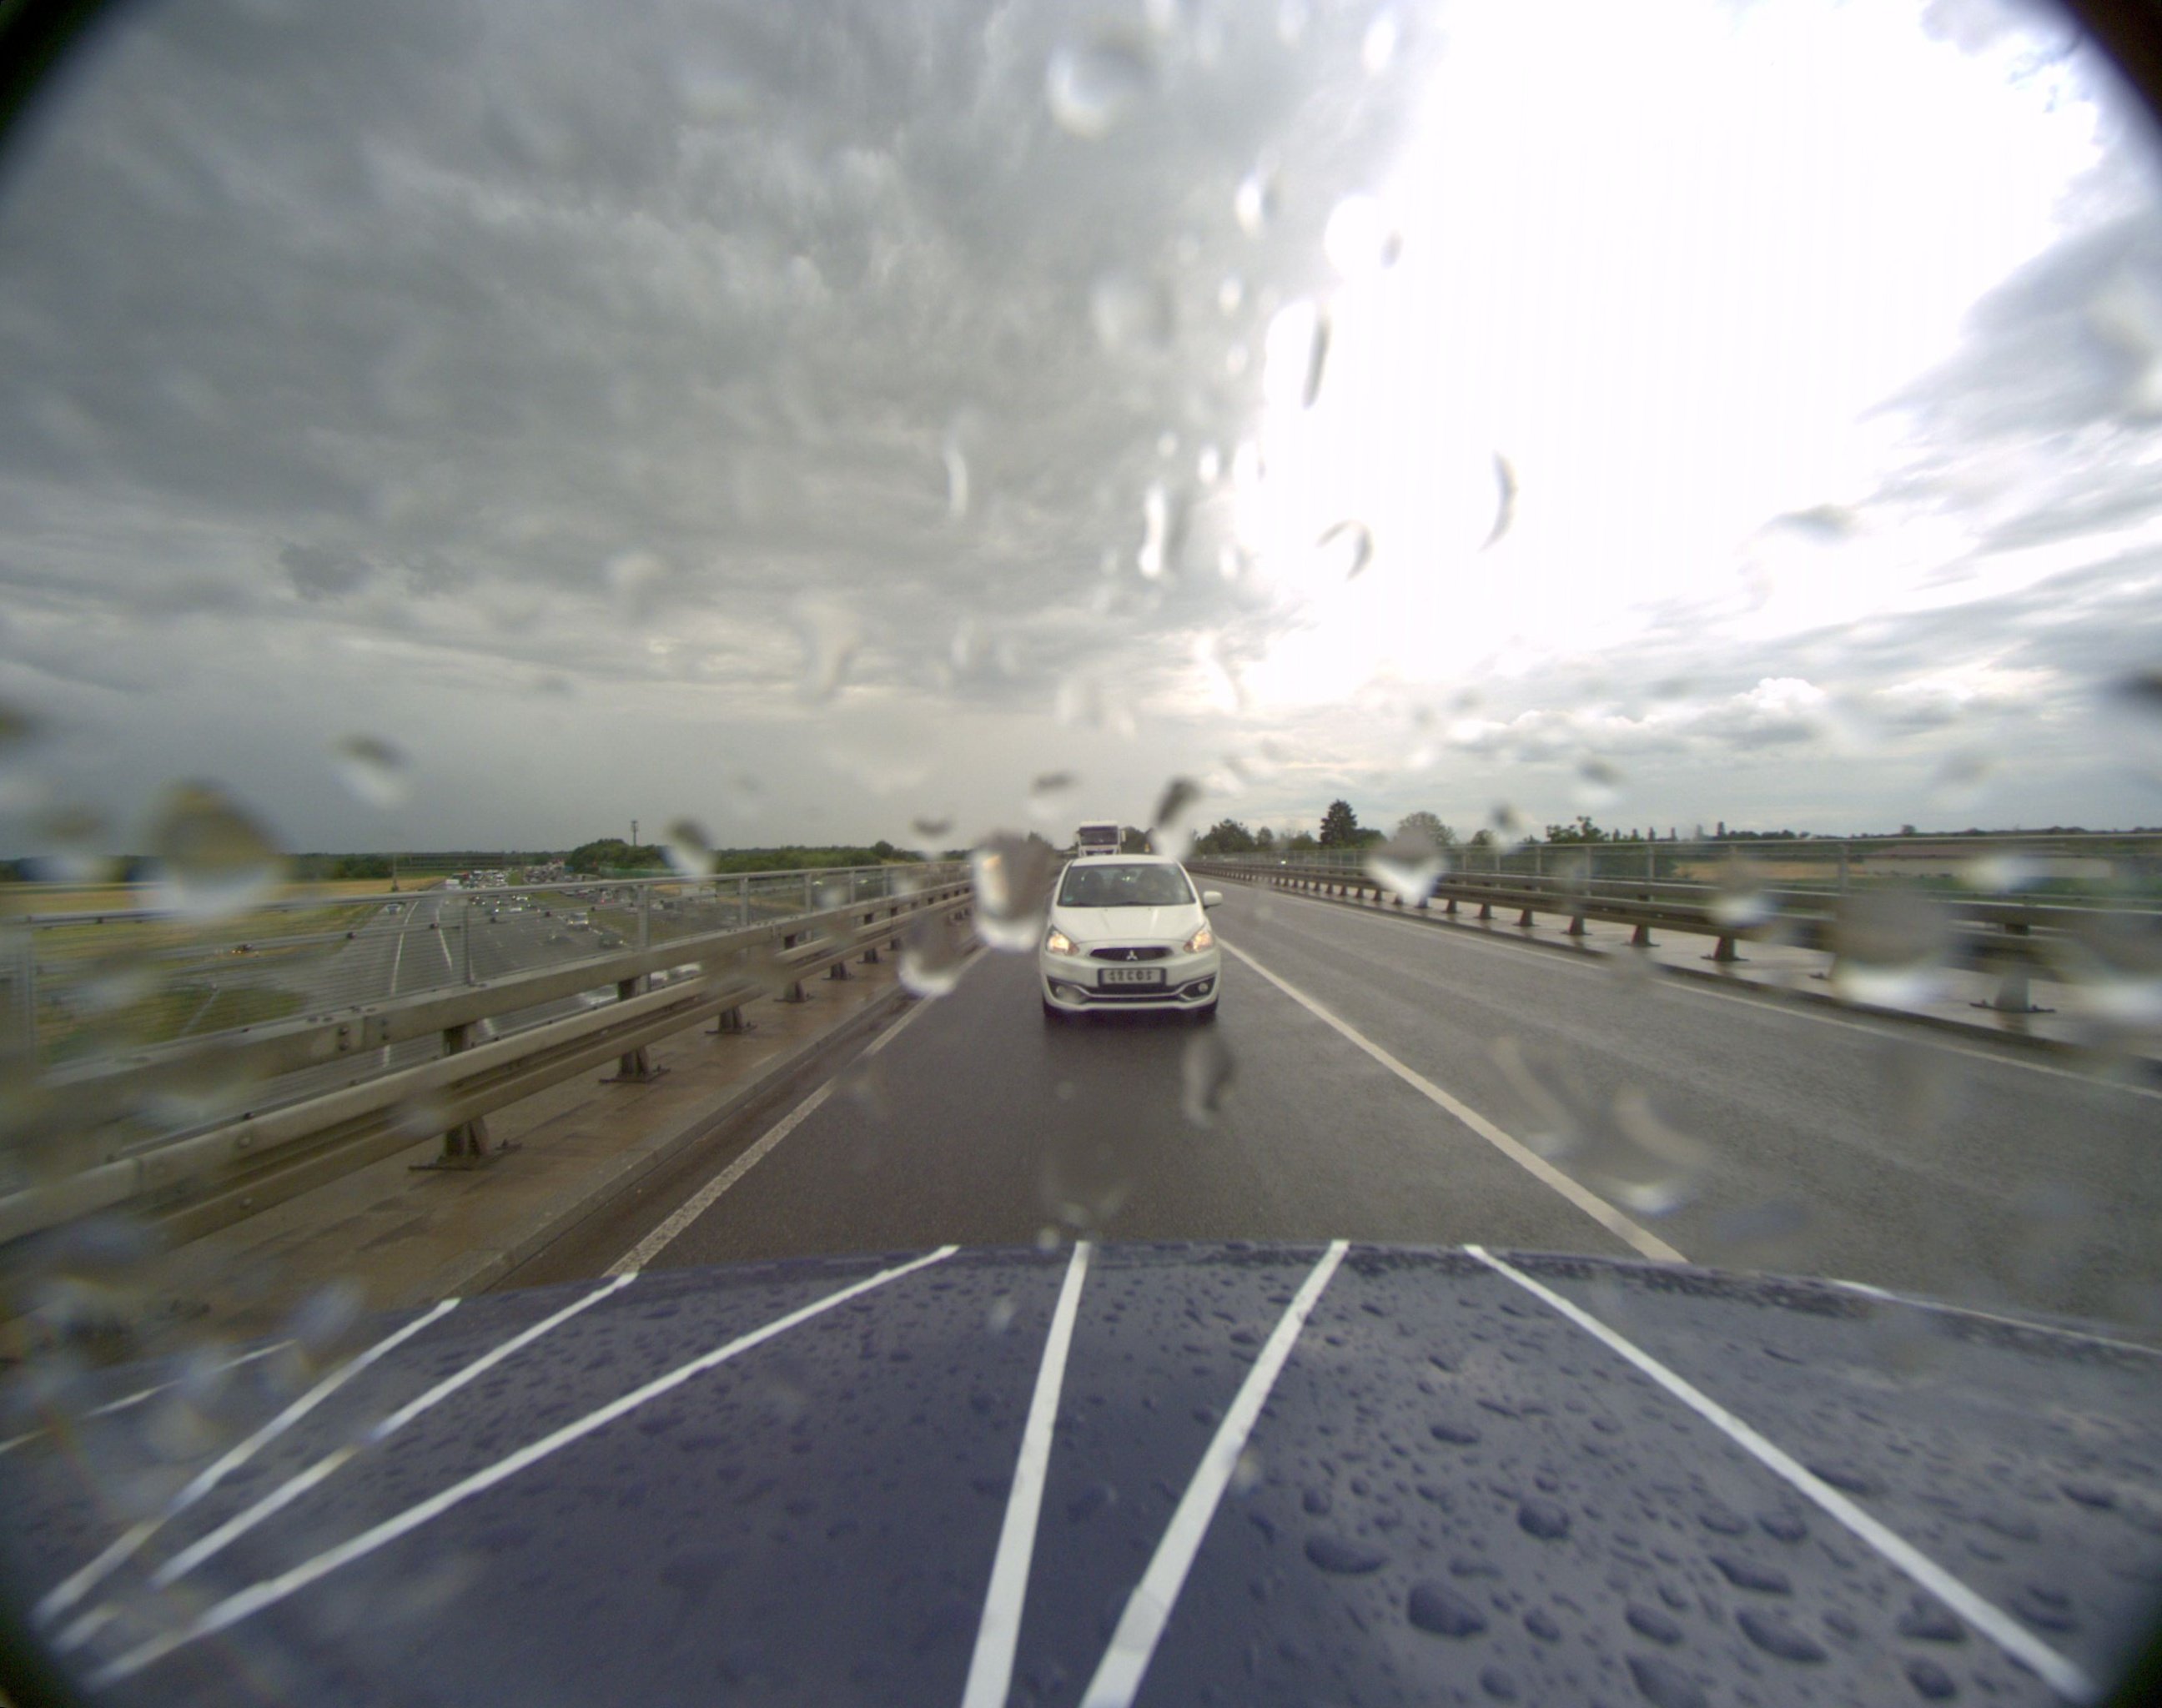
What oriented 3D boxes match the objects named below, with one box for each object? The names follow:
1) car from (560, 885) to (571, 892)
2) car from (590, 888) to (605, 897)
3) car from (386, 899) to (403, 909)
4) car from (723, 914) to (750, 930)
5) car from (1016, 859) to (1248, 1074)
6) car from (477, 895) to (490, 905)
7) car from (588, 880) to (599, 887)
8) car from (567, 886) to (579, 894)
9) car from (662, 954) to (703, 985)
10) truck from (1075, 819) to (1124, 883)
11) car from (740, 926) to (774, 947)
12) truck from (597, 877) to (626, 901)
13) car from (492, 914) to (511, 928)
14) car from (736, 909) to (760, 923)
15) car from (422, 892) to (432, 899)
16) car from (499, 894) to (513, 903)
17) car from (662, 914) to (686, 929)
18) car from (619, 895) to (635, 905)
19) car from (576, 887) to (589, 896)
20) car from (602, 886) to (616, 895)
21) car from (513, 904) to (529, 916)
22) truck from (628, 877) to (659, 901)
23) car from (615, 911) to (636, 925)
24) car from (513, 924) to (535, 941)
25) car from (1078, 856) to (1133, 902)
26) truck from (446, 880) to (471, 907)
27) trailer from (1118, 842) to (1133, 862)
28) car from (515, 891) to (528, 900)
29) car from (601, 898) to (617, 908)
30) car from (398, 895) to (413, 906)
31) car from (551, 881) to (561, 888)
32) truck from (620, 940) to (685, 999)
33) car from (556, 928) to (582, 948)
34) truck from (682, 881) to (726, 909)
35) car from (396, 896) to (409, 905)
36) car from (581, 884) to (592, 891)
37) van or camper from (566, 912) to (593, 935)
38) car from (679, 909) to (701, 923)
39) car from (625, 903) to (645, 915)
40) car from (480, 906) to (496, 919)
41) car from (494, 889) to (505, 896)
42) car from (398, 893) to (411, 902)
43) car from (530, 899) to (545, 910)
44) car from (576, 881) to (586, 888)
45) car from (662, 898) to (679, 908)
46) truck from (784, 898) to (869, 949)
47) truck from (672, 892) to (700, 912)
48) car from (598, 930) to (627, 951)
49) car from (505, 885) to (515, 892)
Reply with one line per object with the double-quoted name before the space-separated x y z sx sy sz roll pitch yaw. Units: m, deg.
"car" -133.609 8.956 196.765 1.860 1.764 4.712 -3 1 -40
"car" -100.138 8.031 157.320 1.860 1.659 4.712 -3 1 -40
"car" -113.546 8.295 125.703 1.818 1.428 4.712 -3 1 -41
"car" -43.702 8.629 96.362 1.860 1.659 4.712 -3 1 -40
"car" 0.420 0.860 7.741 1.675 1.476 4.129 -2 1 1
"car" -113.395 8.665 144.179 1.860 1.659 4.712 -3 1 -40
"car" -134.649 8.165 209.903 1.860 1.764 4.712 -3 1 -40
"car" -119.089 8.417 178.000 1.860 1.764 4.712 -3 1 -40
"car" -31.101 8.961 59.214 1.818 1.659 4.712 -3 1 -40
"truck" 1.048 -0.329 47.317 2.630 3.537 8.474 -2 3 0
"car" -33.172 8.405 77.641 1.860 1.659 4.712 -3 1 -40
"truck" -114.087 8.466 184.457 3.302 5.411 15.588 -3 1 -40
"car" -82.528 9.534 108.177 1.860 1.659 4.712 -3 1 -40
"car" -47.536 8.817 108.294 1.860 1.659 4.712 -3 1 -40
"car" -155.571 9.815 180.705 1.818 1.428 4.712 -3 1 -41
"car" -112.303 8.695 148.407 1.860 1.659 4.712 -3 1 -40
"car" -54.741 9.066 102.174 1.860 1.659 4.712 -3 1 -40
"car" -89.112 8.956 149.073 1.860 1.659 4.712 -3 1 -40
"car" -111.814 8.395 170.293 1.860 1.659 4.712 -3 1 -40
"car" -103.652 8.062 166.862 1.860 1.764 4.712 -3 1 -40
"car" -94.822 9.474 128.586 1.860 1.659 4.712 -3 1 -40
"truck" -101.951 8.126 177.024 3.302 5.135 15.588 -3 1 -40
"car" -65.840 9.168 109.787 1.860 1.659 4.712 -3 1 -40
"car" -69.932 9.860 95.426 1.818 1.659 4.712 -3 1 -40
"car" 0.801 0.796 26.097 1.675 1.366 4.129 -2 1 1
"truck" -122.169 7.584 149.197 2.799 4.871 12.724 -3 1 -36
"trailer" 9.319 -0.474 160.591 2.689 4.051 8.485 -2 0 2
"car" -118.113 8.780 160.292 1.860 1.659 4.712 -3 1 -40
"car" -87.876 9.055 141.403 1.860 1.659 4.712 -3 1 -40
"car" -126.675 8.690 142.409 1.860 1.659 4.712 -3 1 -40
"car" -147.109 8.466 212.715 1.860 1.764 4.712 -3 1 -40
"truck" -31.244 8.248 55.192 2.600 3.161 8.373 -3 1 -39
"car" -56.259 9.195 83.523 1.818 1.659 4.712 -3 1 -40
"truck" -68.036 7.258 136.745 3.610 4.511 15.589 -3 1 -39
"car" -138.058 9.410 154.618 1.860 1.659 4.712 -3 1 -40
"car" -126.679 8.605 194.619 1.860 1.764 4.712 -3 1 -40
"van or camper" -66.921 9.196 101.345 2.063 2.436 7.311 -3 1 -40
"car" -57.165 9.052 111.007 1.860 1.659 4.712 -3 1 -40
"car" -71.562 8.851 121.899 1.860 1.659 4.712 -3 1 -40
"car" -96.394 9.518 123.550 1.860 1.659 4.712 -3 1 -40
"car" -142.532 9.396 186.123 1.860 1.659 4.712 -3 1 -40
"car" -146.644 9.424 164.699 1.860 1.659 4.712 -3 1 -40
"car" -101.945 9.481 142.592 1.860 1.659 4.712 -3 1 -40
"car" -138.155 8.502 209.992 1.860 1.764 4.712 -3 1 -40
"car" -75.574 8.976 139.937 1.860 1.659 4.712 -3 1 -40
"truck" -28.771 7.545 85.023 3.610 4.511 15.589 -3 1 -39
"truck" -65.997 7.988 126.823 2.216 2.948 9.284 -3 1 -40
"car" -49.386 9.070 80.079 1.818 1.659 4.712 -3 1 -40
"car" -149.370 9.033 198.711 1.860 1.659 4.712 -3 1 -40
